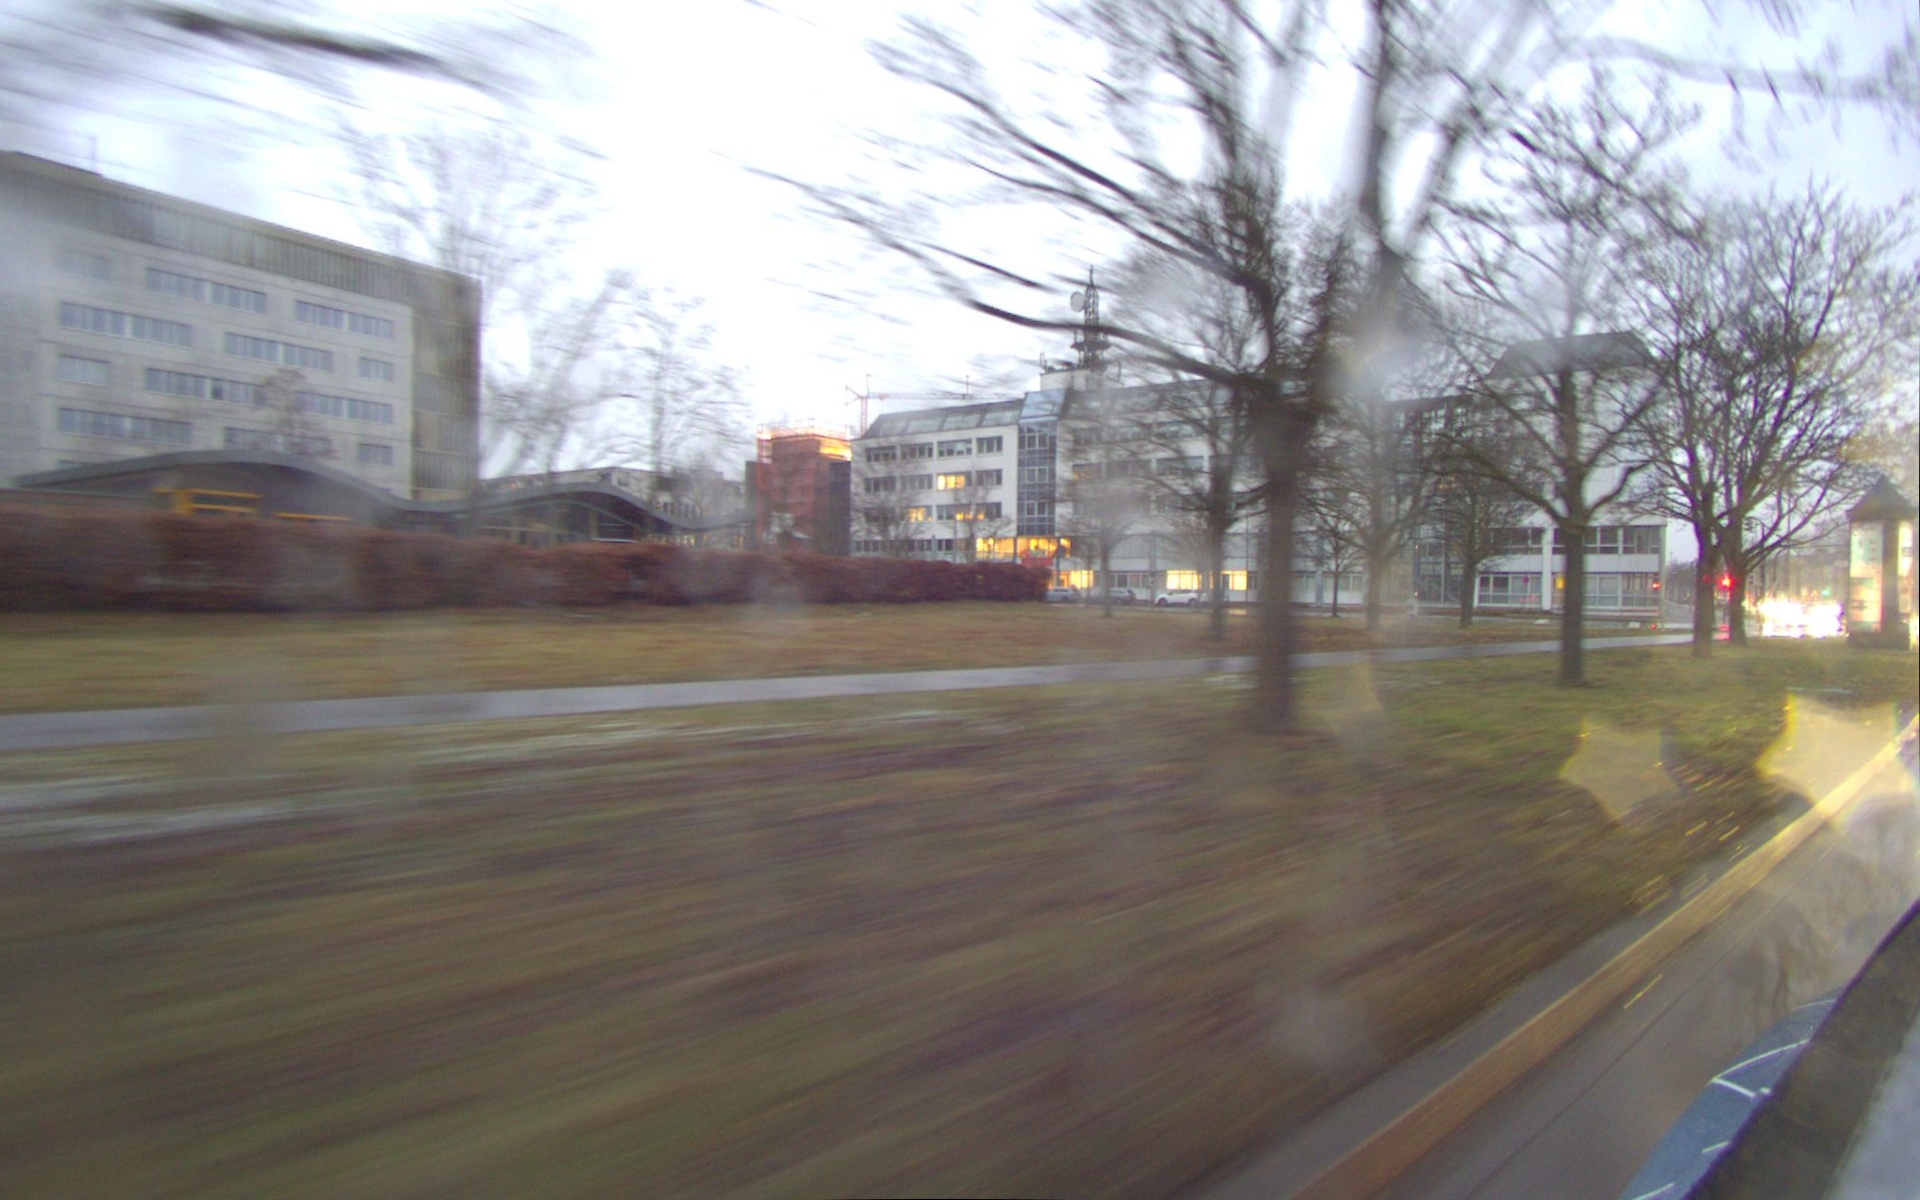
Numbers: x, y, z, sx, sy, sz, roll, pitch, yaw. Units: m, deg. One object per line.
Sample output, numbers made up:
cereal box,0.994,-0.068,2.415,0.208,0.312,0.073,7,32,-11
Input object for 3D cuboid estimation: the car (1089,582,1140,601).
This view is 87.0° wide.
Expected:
car,13.832,-0.765,90.746,4.117,1.652,1.977,1,1,33

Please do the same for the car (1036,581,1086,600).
car,9.378,-0.880,93.901,4.134,1.652,1.977,1,1,33

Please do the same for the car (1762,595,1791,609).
car,81.835,0.227,101.494,1.988,1.340,3.949,1,1,35

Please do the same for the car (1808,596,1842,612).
car,78.723,0.352,92.126,1.988,1.340,3.949,1,1,35

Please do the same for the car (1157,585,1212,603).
car,18.964,-0.496,85.416,4.134,1.456,1.882,1,1,33

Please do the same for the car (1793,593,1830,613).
car,68.462,0.225,81.403,1.939,1.575,4.161,-1,-1,36
